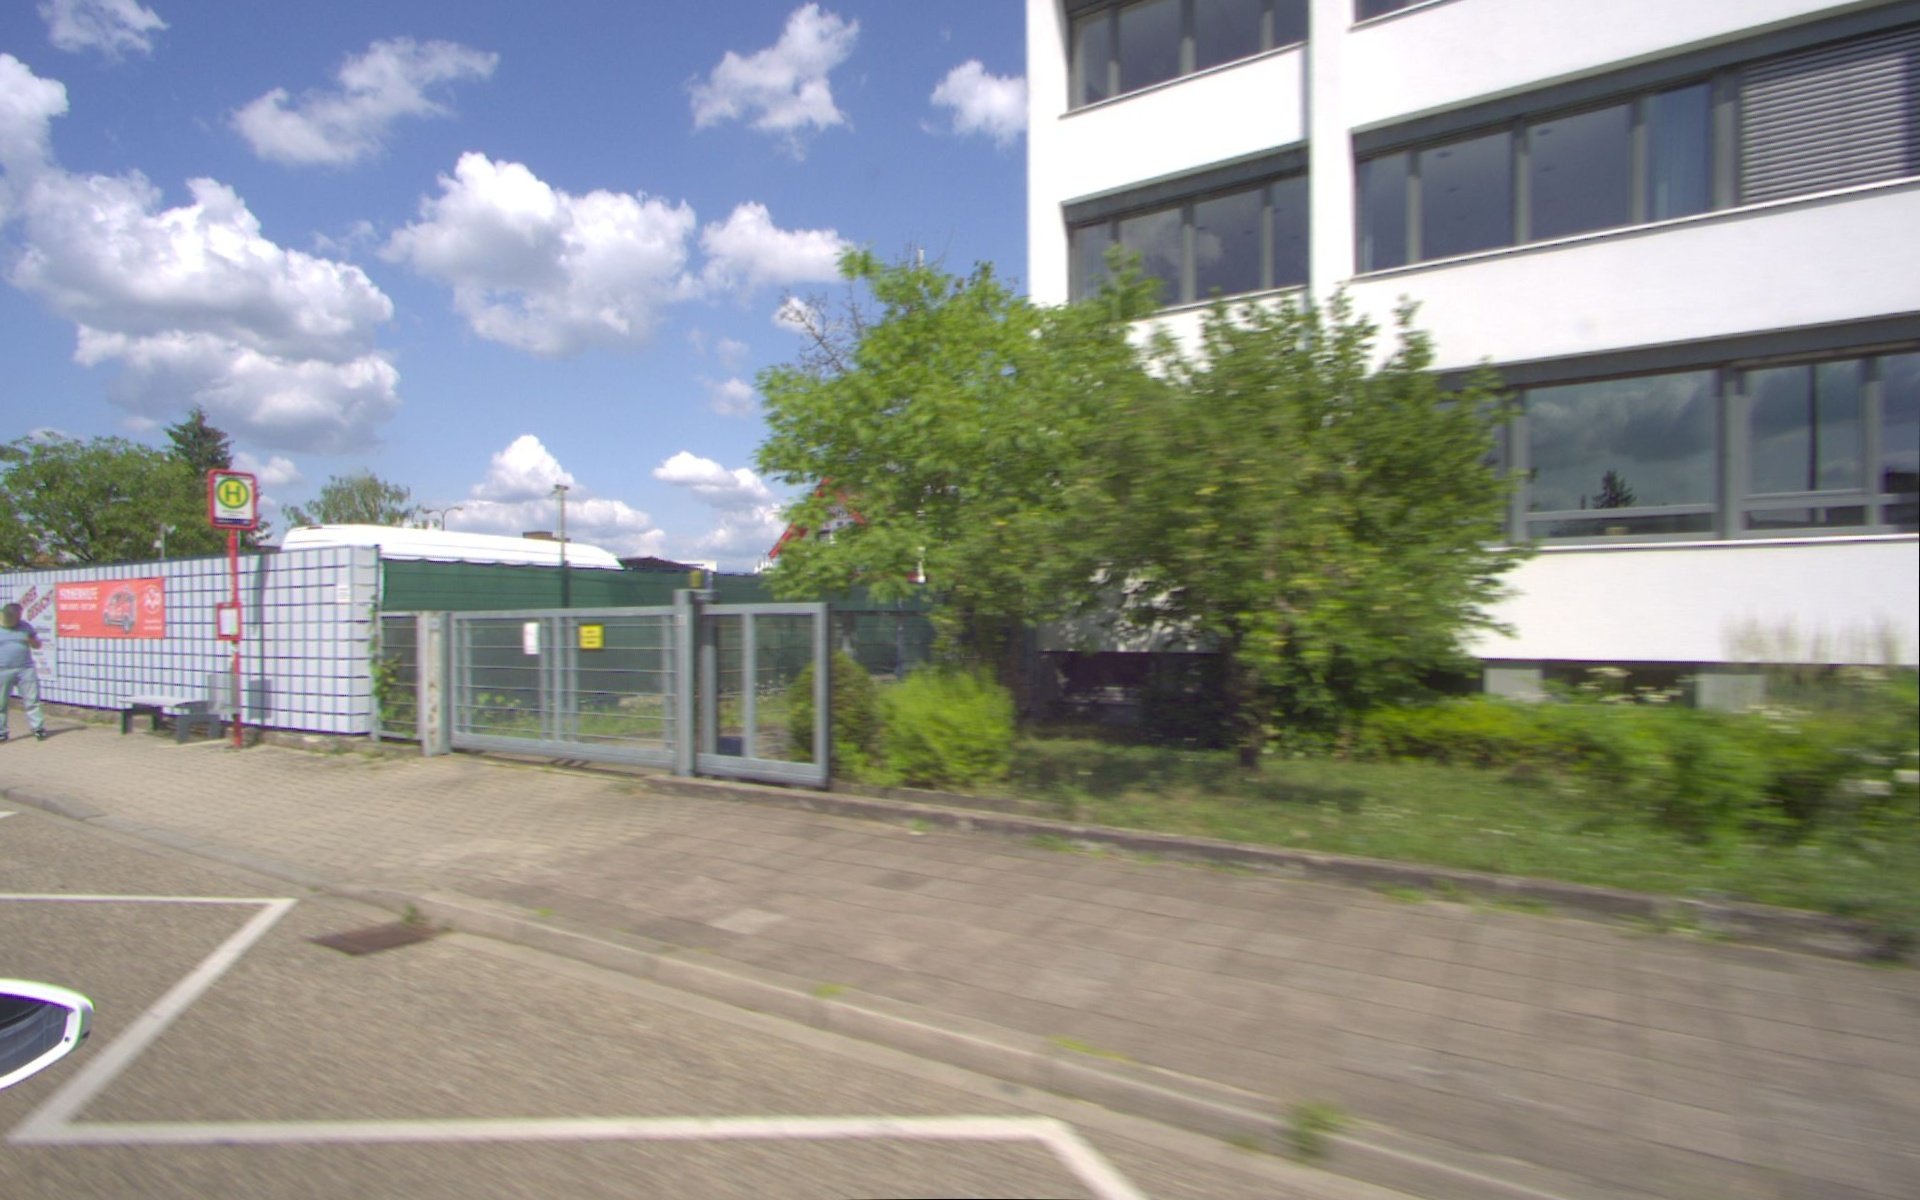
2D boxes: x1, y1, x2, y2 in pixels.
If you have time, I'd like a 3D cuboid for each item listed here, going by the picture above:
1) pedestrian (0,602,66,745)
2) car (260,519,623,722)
[{"bbox_3d":[-11.952,0.914,12.641,0.514,1.721,0.714,0,5,28],"label":"pedestrian"},{"bbox_3d":[-7.896,0.327,15.876,2.039,2.686,4.907,0,-1,25],"label":"car"}]
